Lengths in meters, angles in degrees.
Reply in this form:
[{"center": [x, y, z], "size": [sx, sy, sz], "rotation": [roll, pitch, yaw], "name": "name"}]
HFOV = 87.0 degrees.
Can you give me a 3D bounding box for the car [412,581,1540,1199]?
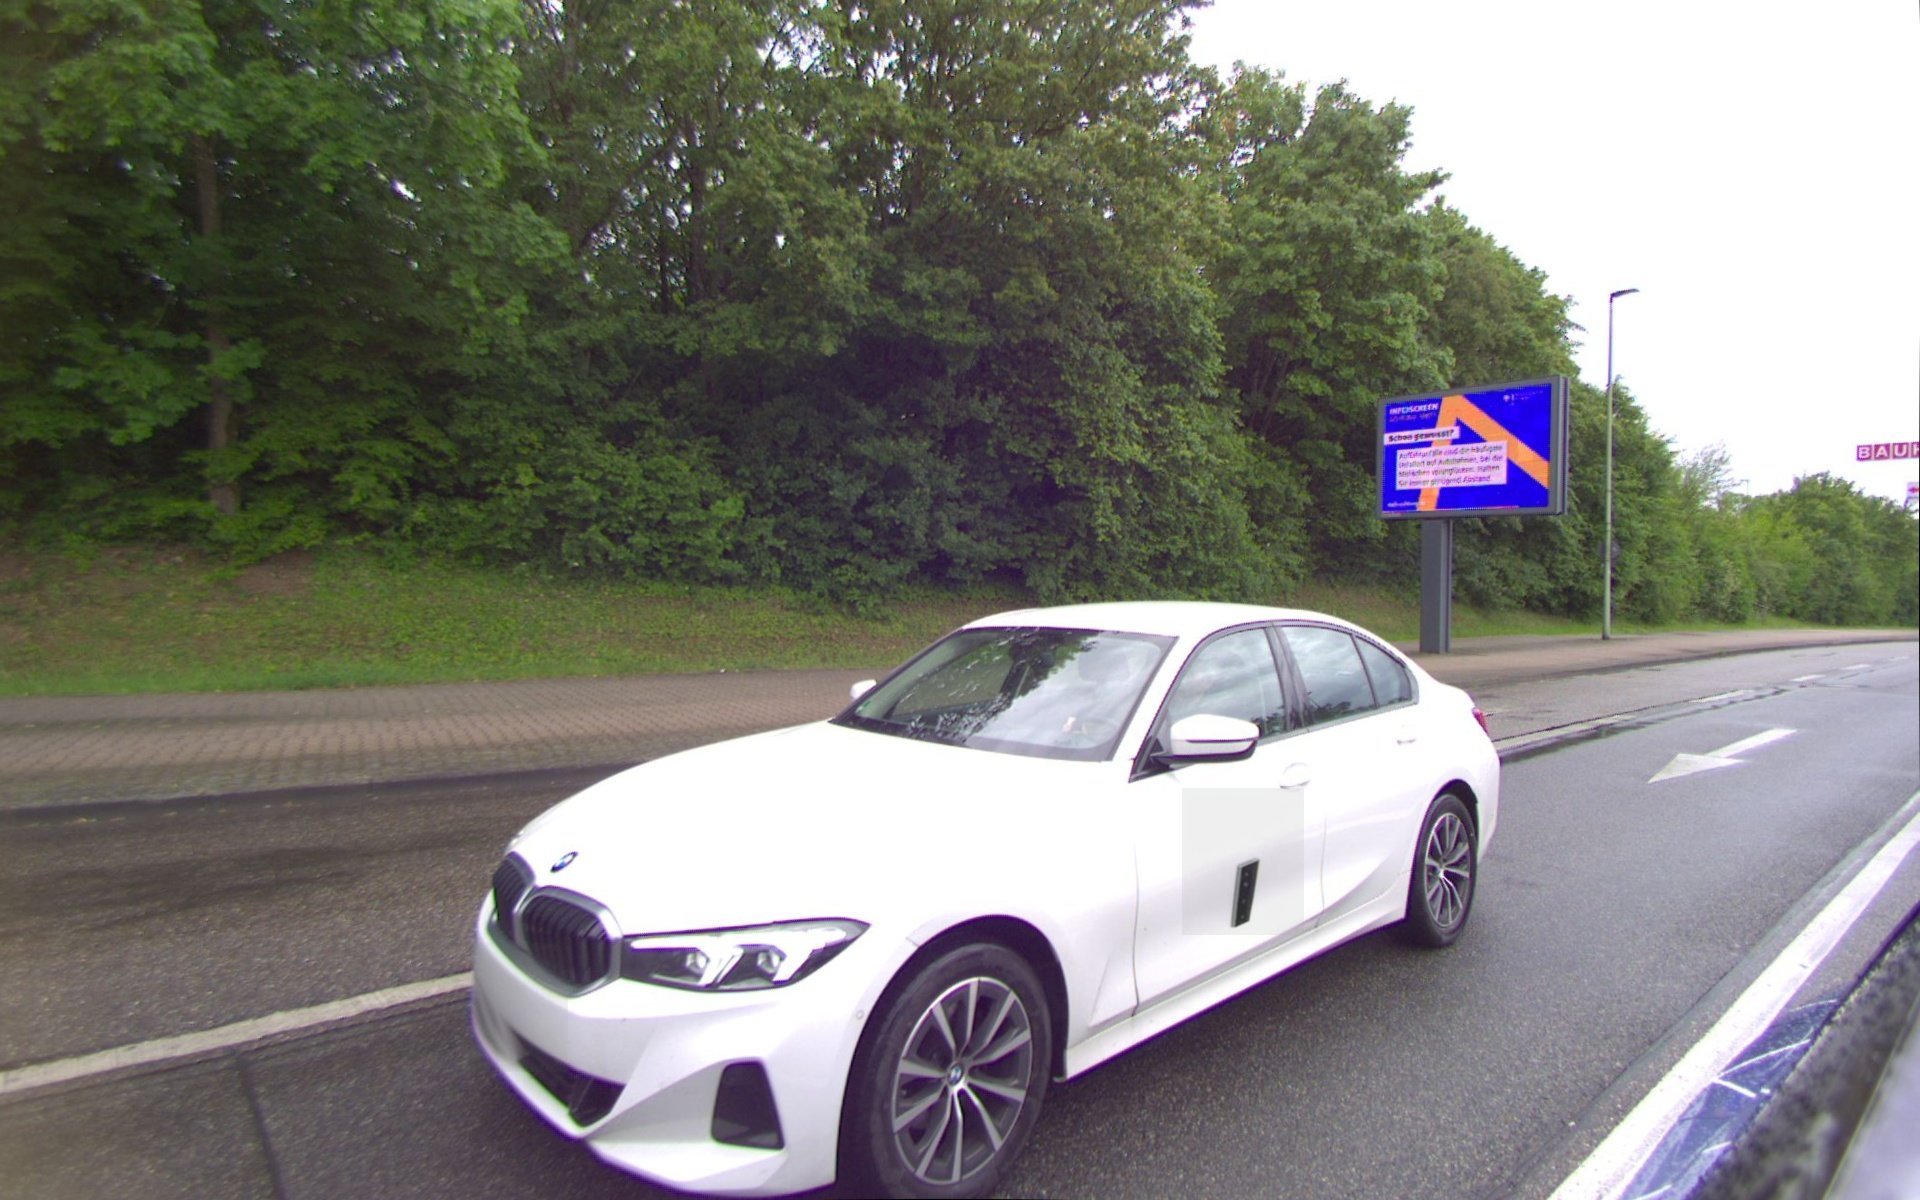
[{"center": [0.561, 0.672, 4.084], "size": [4.600, 1.475, 1.782], "rotation": [-1, 1, -42], "name": "car"}]
